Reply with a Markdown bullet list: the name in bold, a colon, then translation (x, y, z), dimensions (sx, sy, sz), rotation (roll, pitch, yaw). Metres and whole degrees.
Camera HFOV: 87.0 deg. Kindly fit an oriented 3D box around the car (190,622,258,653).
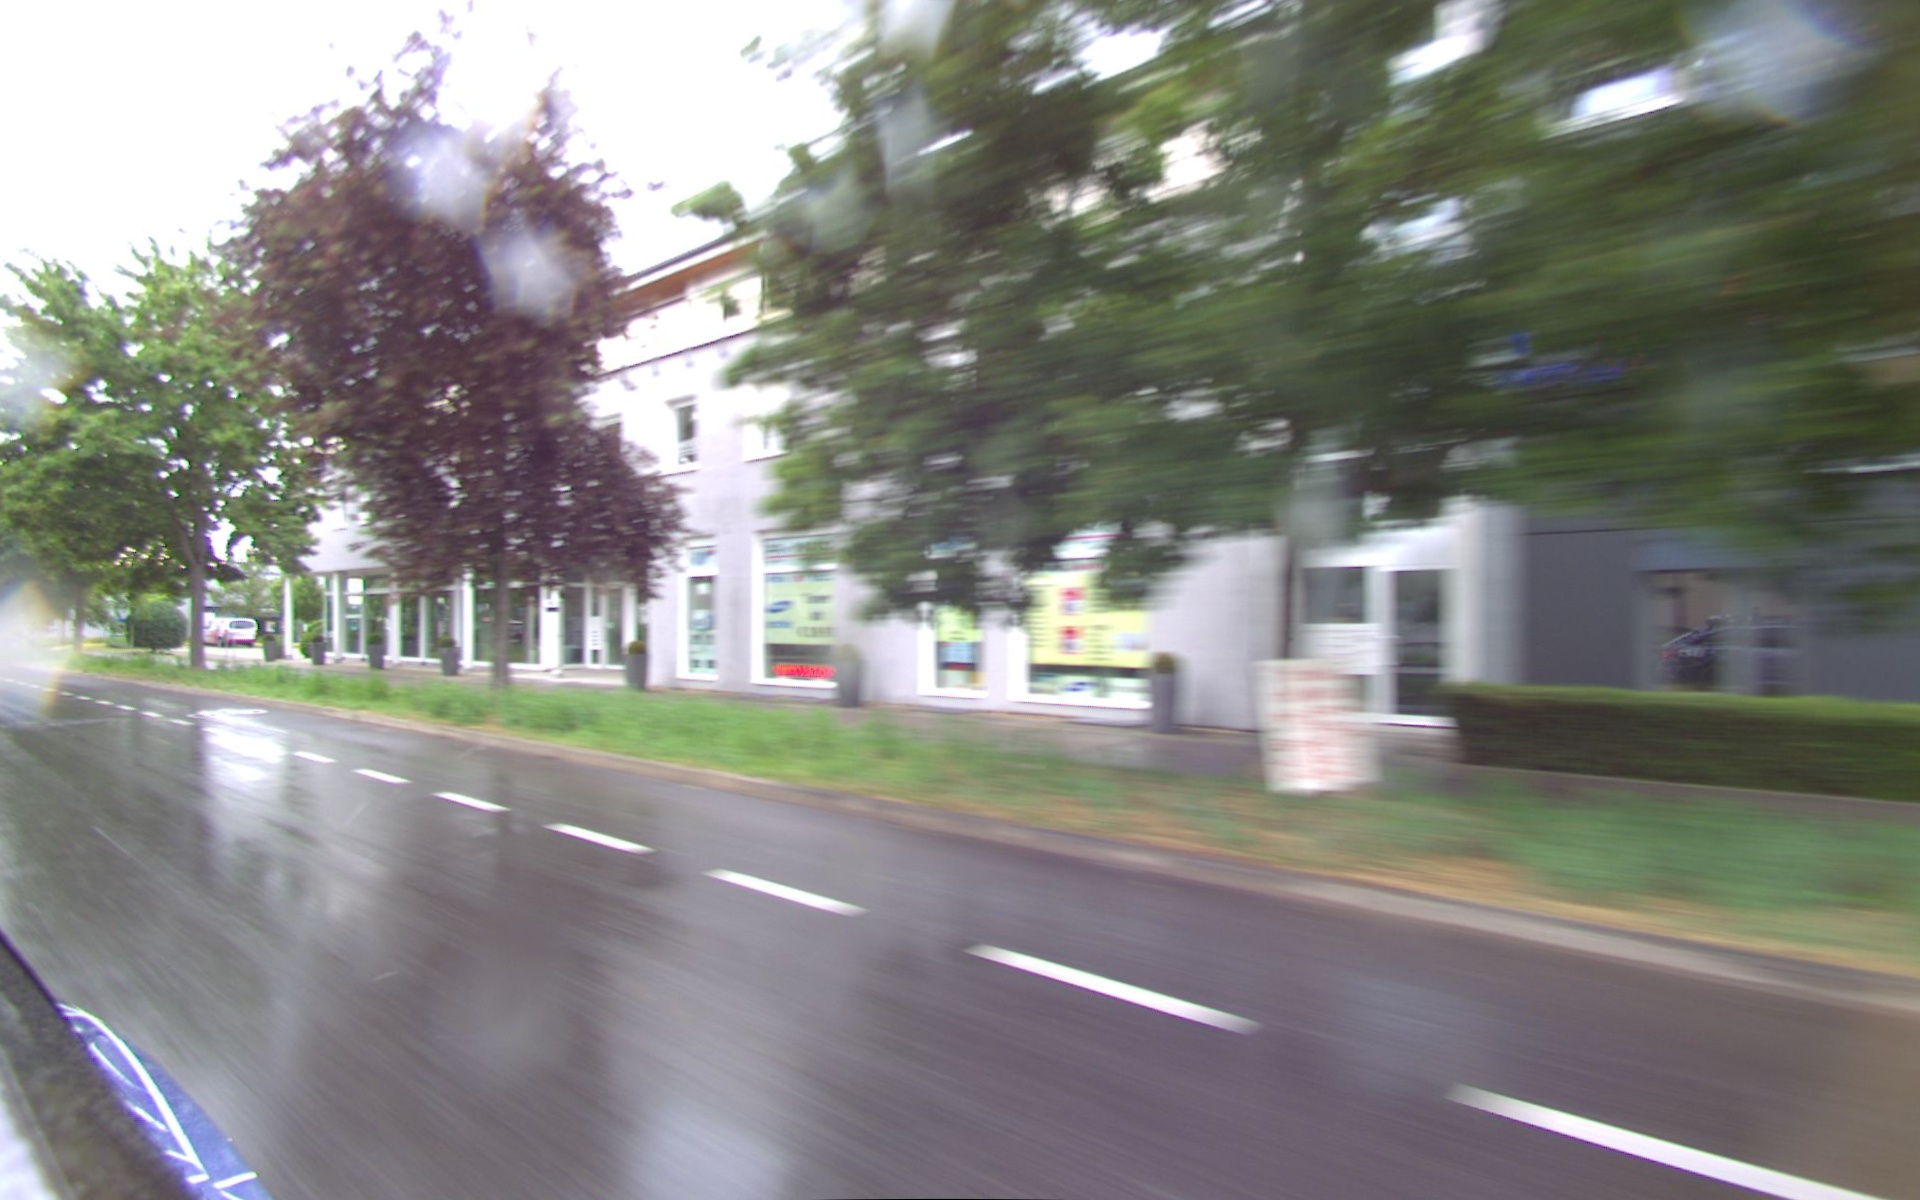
- **car**: translation (-48.446, 2.472, 66.600), dimensions (5.598, 1.836, 2.015), rotation (-3, -2, 37)
